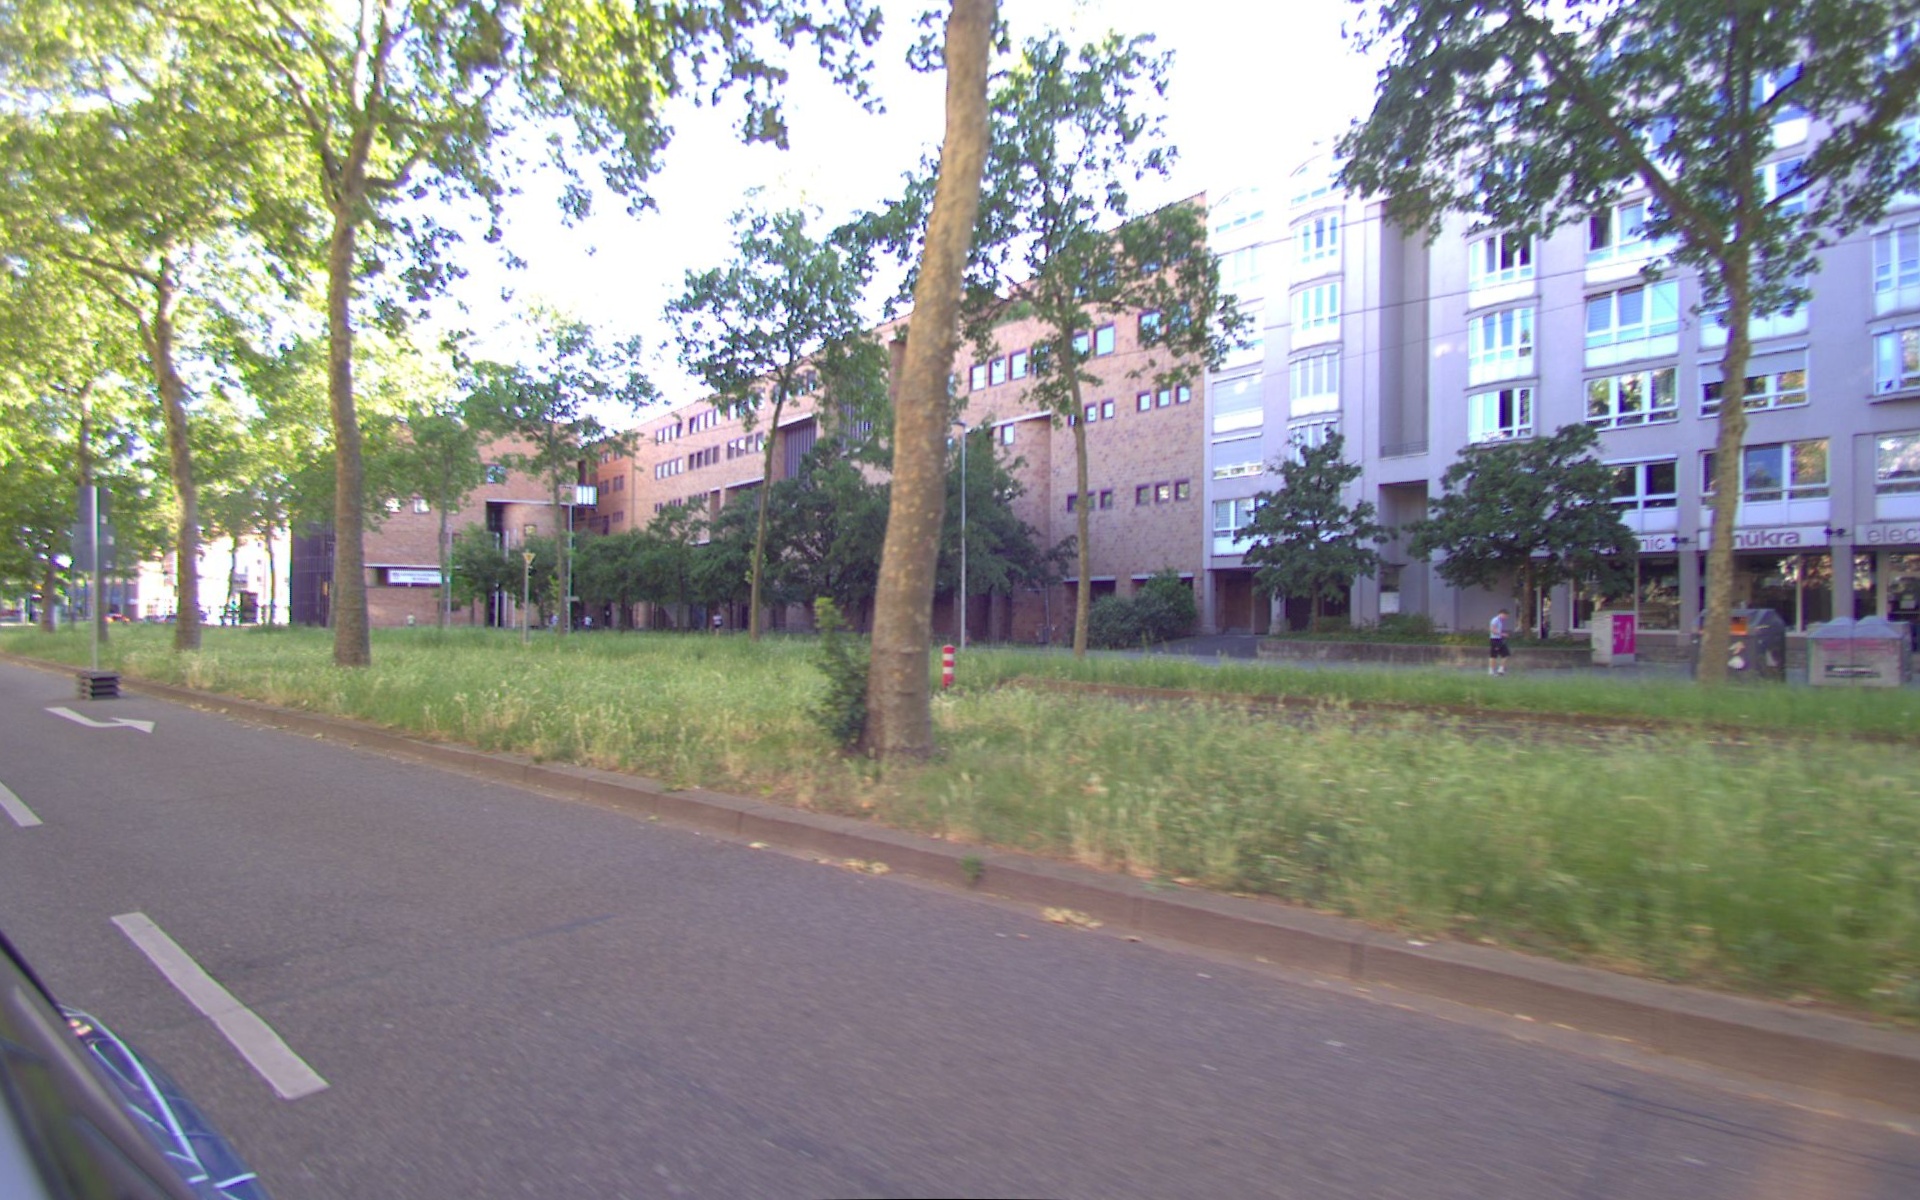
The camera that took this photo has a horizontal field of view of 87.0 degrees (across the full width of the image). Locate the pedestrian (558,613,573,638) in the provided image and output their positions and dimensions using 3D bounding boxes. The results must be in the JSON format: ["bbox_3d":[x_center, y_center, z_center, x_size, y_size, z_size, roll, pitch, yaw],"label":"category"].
[{"bbox_3d":[-26.164,1.688,67.151,0.756,1.629,0.657,-1,-2,41],"label":"pedestrian"}]

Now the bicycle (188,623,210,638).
[{"bbox_3d":[-61.870,2.486,82.276,2.436,1.134,0.946,0,-1,42],"label":"bicycle"}]

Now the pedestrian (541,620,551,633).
[{"bbox_3d":[-37.603,2.386,91.945,0.628,1.207,0.659,-1,-1,32],"label":"pedestrian"}]

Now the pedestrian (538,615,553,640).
[{"bbox_3d":[-27.711,1.846,67.721,0.756,1.629,0.657,-1,-2,41],"label":"pedestrian"}]

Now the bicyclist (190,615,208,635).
[{"bbox_3d":[-61.822,2.035,82.216,1.209,1.583,0.931,-1,-2,42],"label":"bicyclist"}]

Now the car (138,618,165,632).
[{"bbox_3d":[-83.642,2.604,104.714,3.219,1.440,1.596,-1,-2,41],"label":"car"}]

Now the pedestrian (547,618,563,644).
[{"bbox_3d":[-26.676,2.028,66.608,0.796,1.735,0.657,-1,-2,41],"label":"pedestrian"}]

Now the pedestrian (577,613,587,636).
[{"bbox_3d":[-25.292,1.654,67.736,0.463,1.517,0.477,-1,-2,44],"label":"pedestrian"}]

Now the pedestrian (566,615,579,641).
[{"bbox_3d":[-25.935,1.862,67.718,0.596,1.692,0.604,-1,-2,41],"label":"pedestrian"}]

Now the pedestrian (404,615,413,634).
[{"bbox_3d":[-46.022,2.034,84.437,0.652,1.555,0.412,-1,-2,37],"label":"pedestrian"}]

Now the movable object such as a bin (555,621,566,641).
[{"bbox_3d":[-26.105,2.001,66.067,0.756,1.289,0.352,-1,-2,41],"label":"movable object such as a bin"}]

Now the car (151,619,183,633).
[{"bbox_3d":[-78.243,2.561,99.828,4.147,1.440,1.653,-1,-2,41],"label":"car"}]

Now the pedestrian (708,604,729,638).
[{"bbox_3d":[-13.524,1.179,56.645,0.901,1.845,0.815,-1,-2,43],"label":"pedestrian"}]

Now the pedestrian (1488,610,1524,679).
[{"bbox_3d":[14.313,1.151,26.517,0.720,1.753,0.648,1,-2,-45],"label":"pedestrian"}]
